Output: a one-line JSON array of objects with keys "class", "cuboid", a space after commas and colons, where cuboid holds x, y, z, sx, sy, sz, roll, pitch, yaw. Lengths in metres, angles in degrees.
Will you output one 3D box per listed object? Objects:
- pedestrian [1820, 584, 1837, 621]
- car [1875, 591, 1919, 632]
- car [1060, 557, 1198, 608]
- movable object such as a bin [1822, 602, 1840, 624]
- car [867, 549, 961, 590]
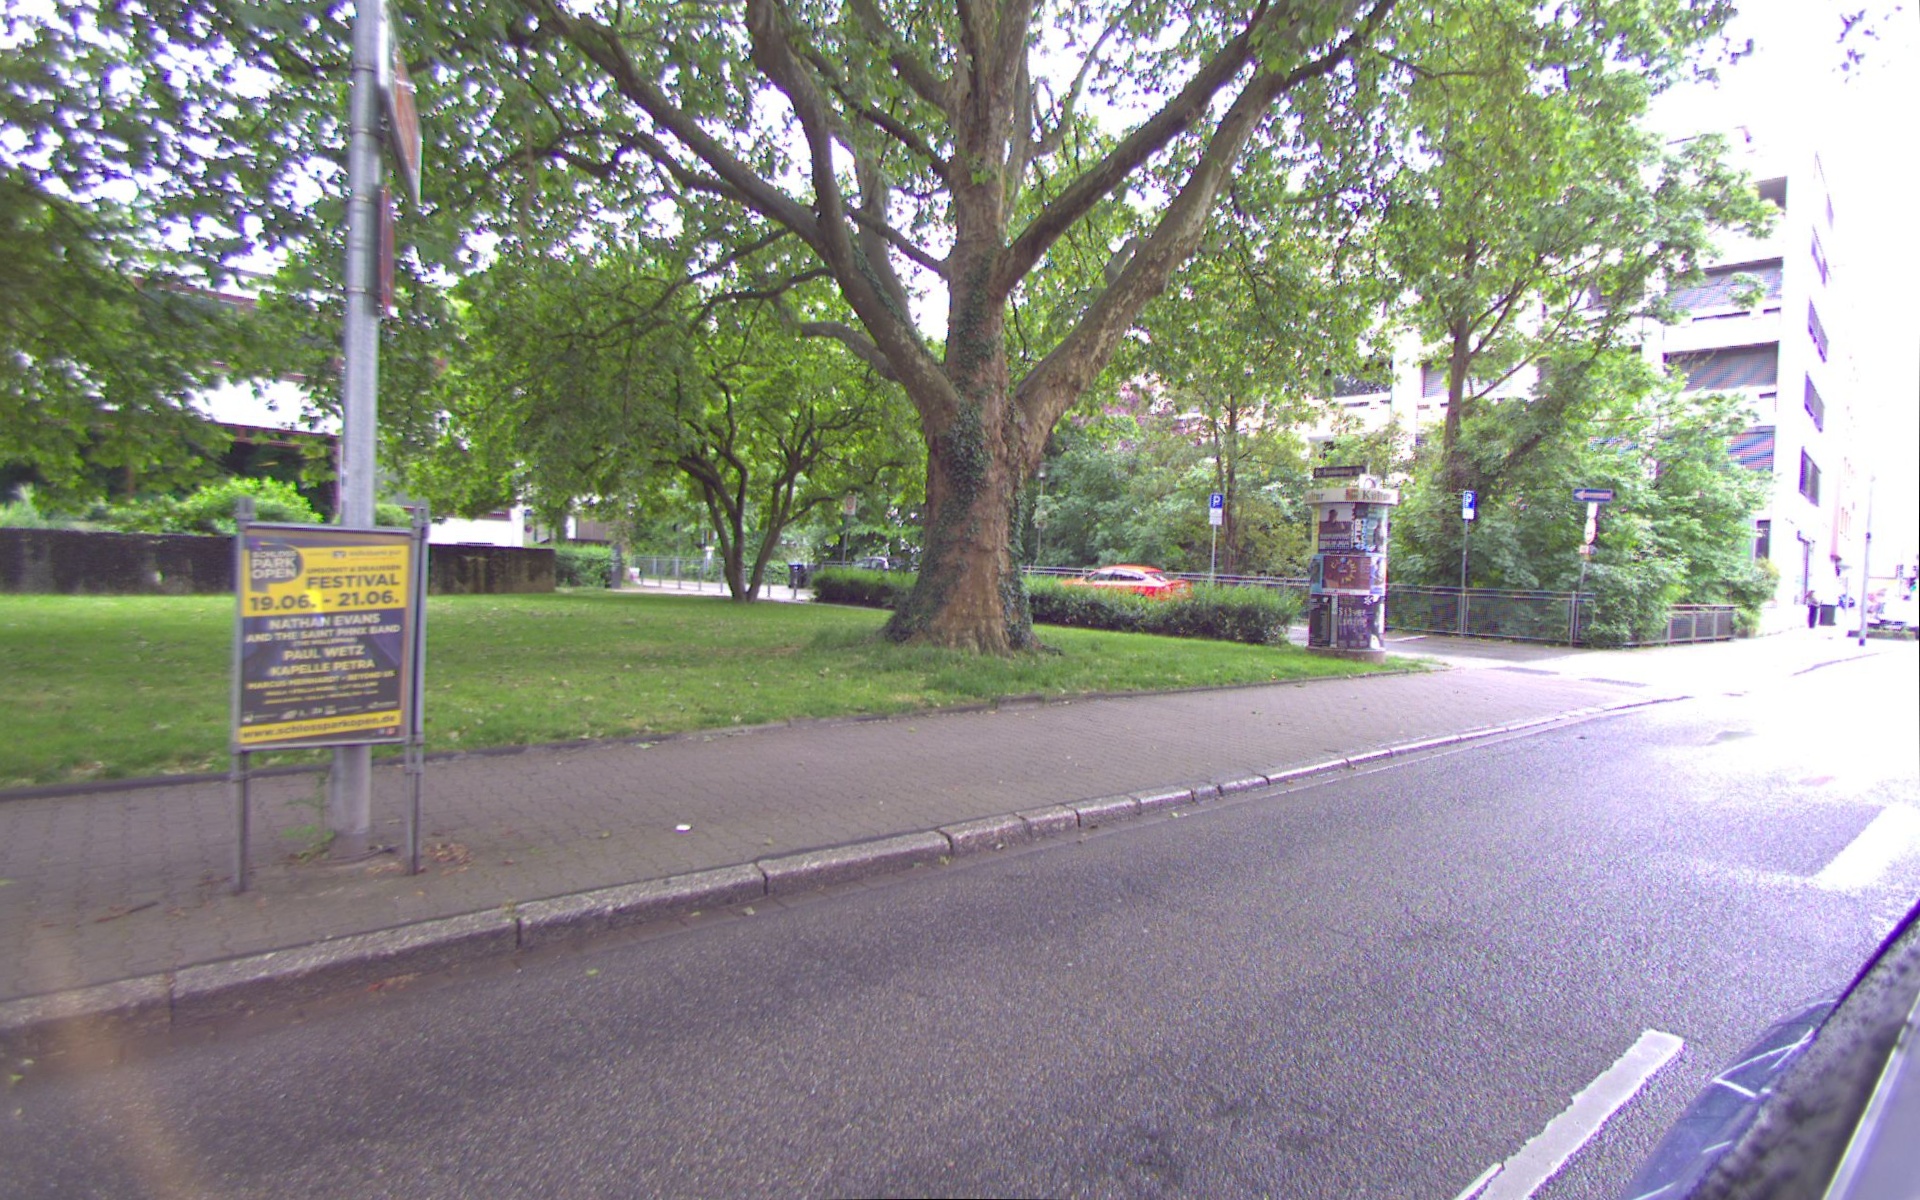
[{"class": "pedestrian", "cuboid": [36.414, 0.093, 42.426, 0.473, 1.549, 0.480, 0, 0, -41]}, {"class": "car", "cuboid": [37.409, 0.455, 39.735, 3.617, 1.449, 1.681, 0, 6, -41]}, {"class": "car", "cuboid": [4.878, -0.540, 29.534, 1.551, 1.294, 3.784, -1, 4, -44]}, {"class": "movable object such as a bin", "cuboid": [41.915, 0.620, 48.709, 0.287, 1.054, 0.556, 0, 3, -41]}, {"class": "car", "cuboid": [-1.706, -1.122, 36.629, 3.460, 1.294, 1.426, 5, 4, 45]}]
